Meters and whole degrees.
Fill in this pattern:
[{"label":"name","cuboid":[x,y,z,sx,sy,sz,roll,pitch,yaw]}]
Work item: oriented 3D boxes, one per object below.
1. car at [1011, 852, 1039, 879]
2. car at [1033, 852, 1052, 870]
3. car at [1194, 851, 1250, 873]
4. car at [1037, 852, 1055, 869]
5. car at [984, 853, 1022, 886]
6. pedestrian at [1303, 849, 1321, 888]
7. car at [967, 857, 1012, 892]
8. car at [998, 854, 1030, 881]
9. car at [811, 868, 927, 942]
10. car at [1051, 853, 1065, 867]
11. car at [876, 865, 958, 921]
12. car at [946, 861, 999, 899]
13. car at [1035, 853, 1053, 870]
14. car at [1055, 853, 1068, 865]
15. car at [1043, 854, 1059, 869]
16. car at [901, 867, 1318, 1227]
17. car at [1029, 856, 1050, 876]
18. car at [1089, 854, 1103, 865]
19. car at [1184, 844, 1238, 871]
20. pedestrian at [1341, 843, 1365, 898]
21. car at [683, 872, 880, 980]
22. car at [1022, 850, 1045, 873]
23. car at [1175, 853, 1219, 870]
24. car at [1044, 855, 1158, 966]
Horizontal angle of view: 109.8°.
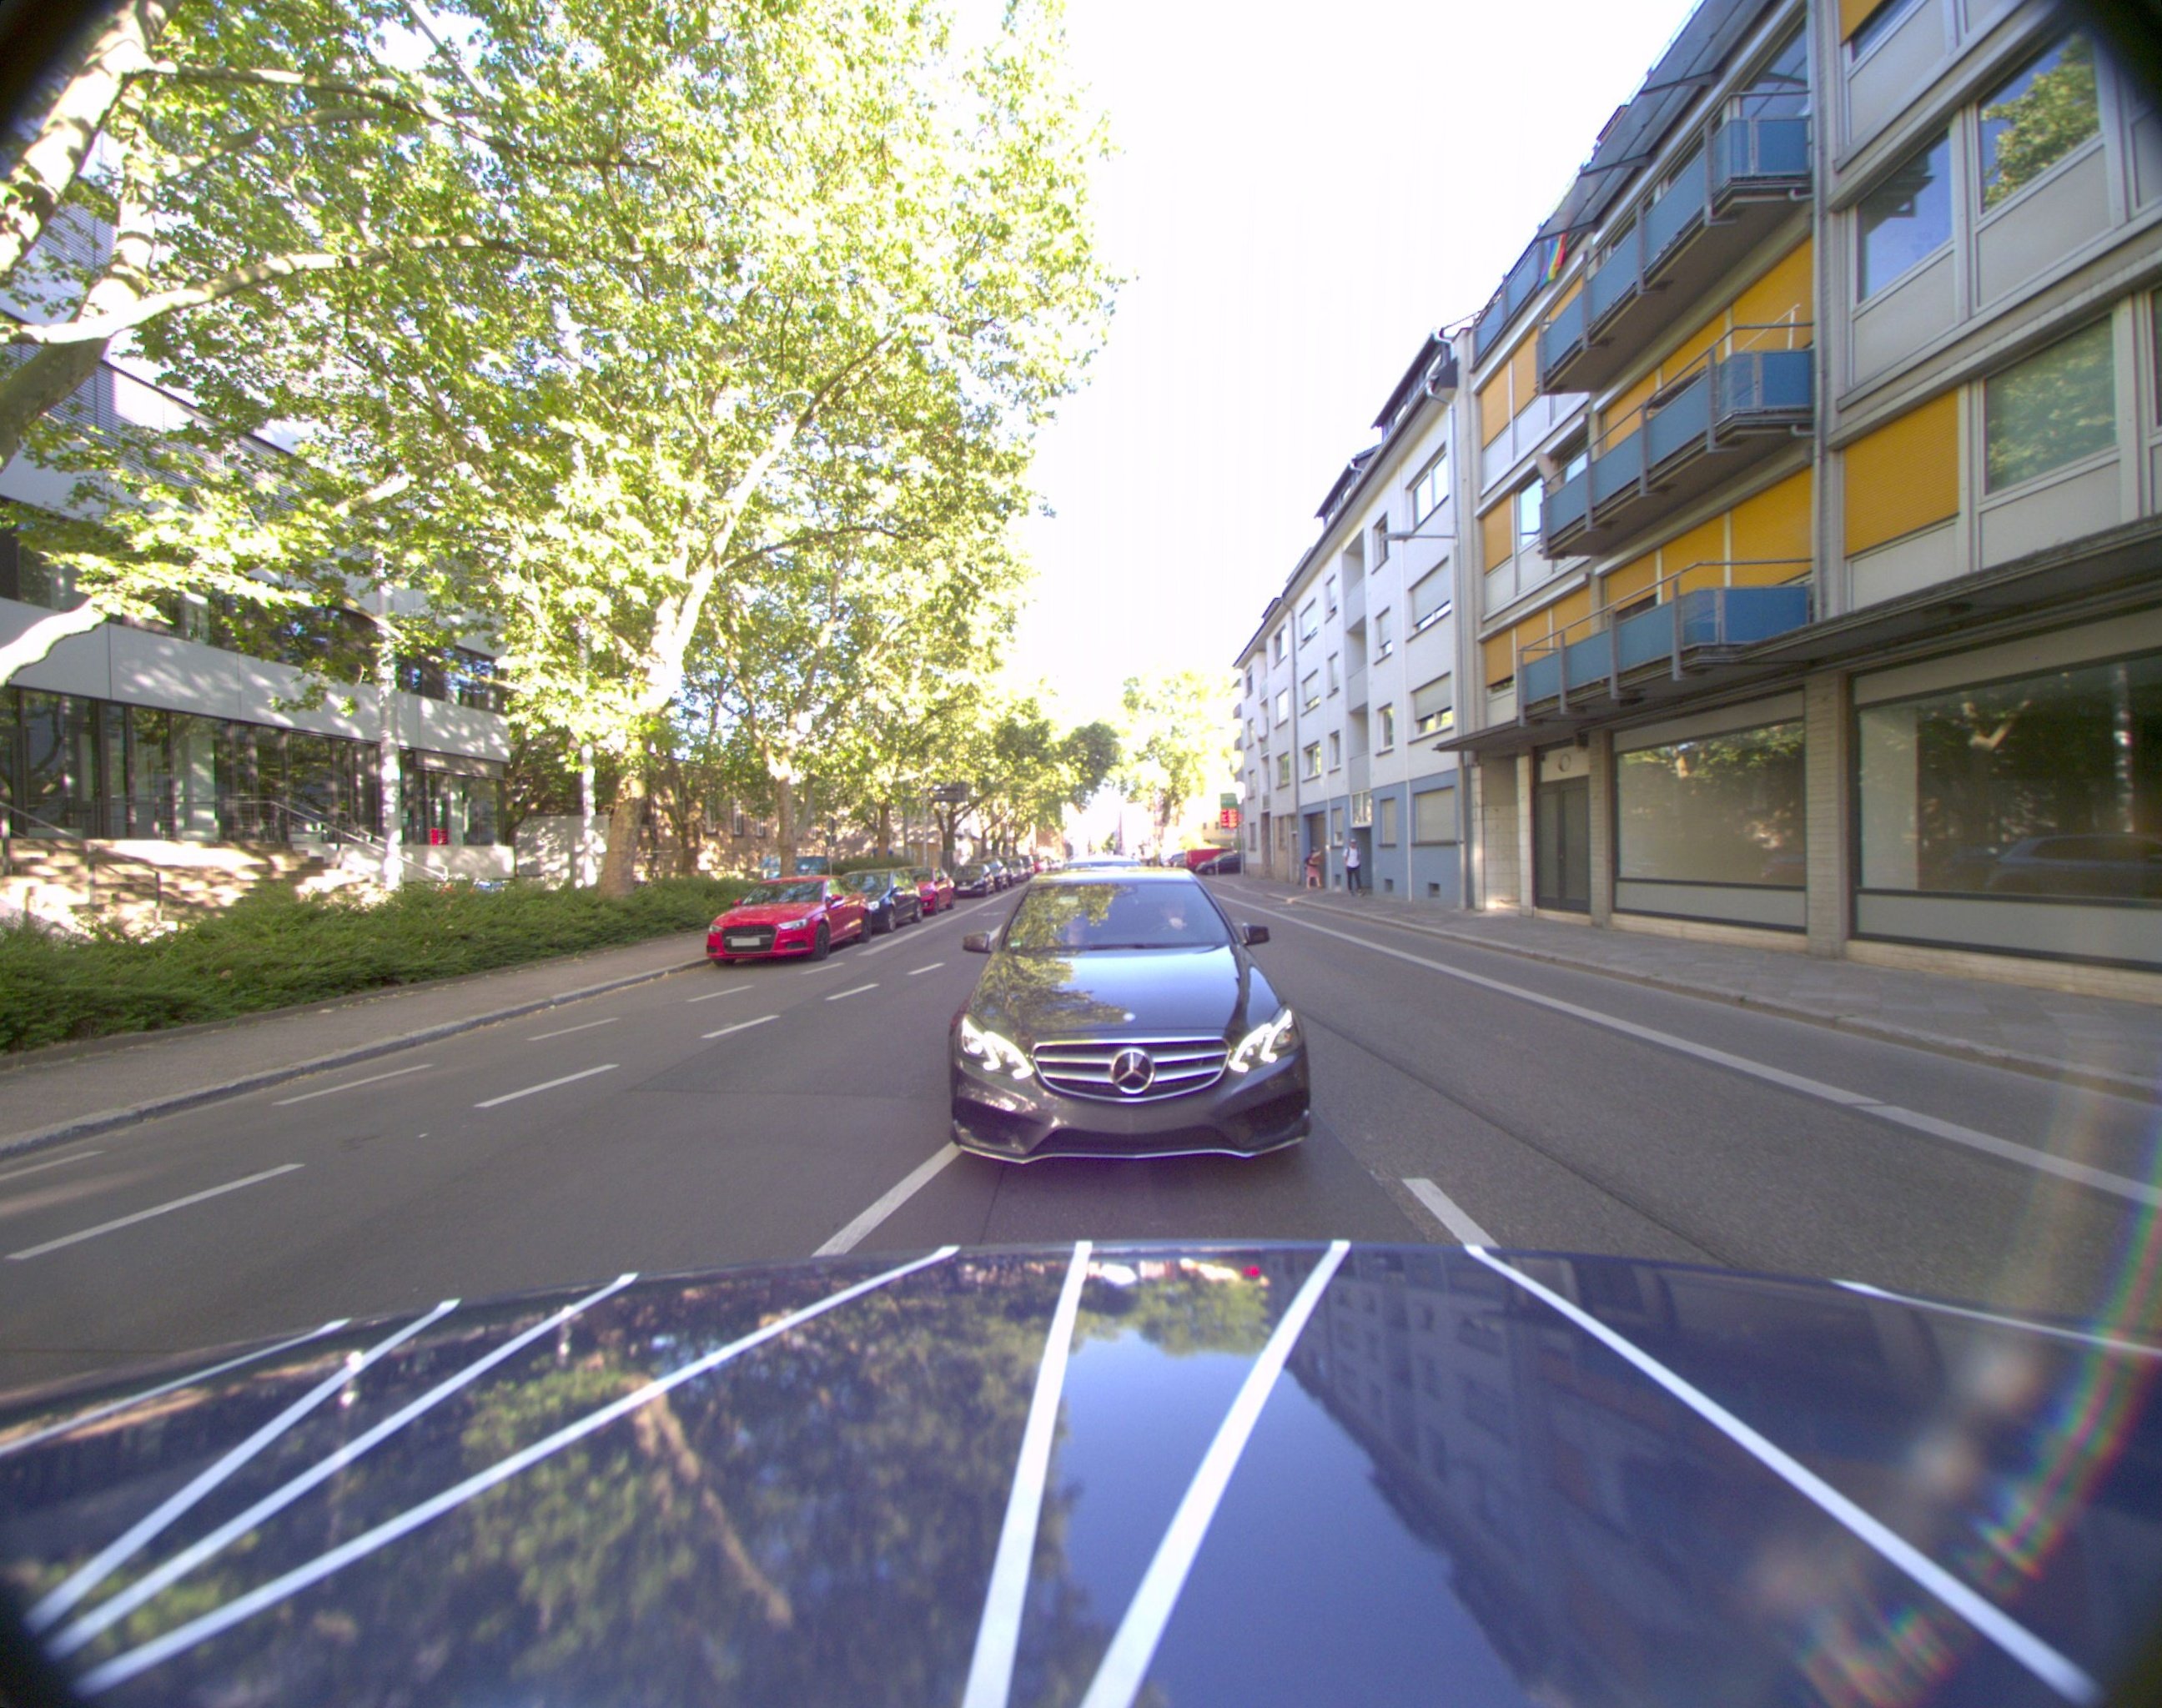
[{"label":"car","cuboid":[-4.075,0.828,55.528,1.635,1.799,3.673,-3,0,1]},{"label":"car","cuboid":[-3.935,0.725,78.173,1.635,1.713,3.673,-3,0,1]},{"label":"car","cuboid":[10.098,0.552,54.725,3.670,1.403,1.636,-3,0,1]},{"label":"car","cuboid":[-3.945,0.715,86.063,1.635,1.713,3.673,-3,0,1]},{"label":"car","cuboid":[-4.490,0.854,44.157,1.635,1.795,3.845,-3,0,1]},{"label":"pedestrian","cuboid":[9.092,0.557,29.862,0.571,1.509,0.342,-4,1,-41]},{"label":"car","cuboid":[-4.524,0.970,38.056,1.635,1.578,3.845,-3,0,1]},{"label":"car","cuboid":[-4.415,0.896,50.720,1.635,1.644,3.845,-3,0,1]},{"label":"car","cuboid":[-5.001,1.147,18.398,1.635,1.455,3.740,-3,0,1]},{"label":"car","cuboid":[-3.036,0.788,102.747,1.635,1.713,3.673,-3,0,1]},{"label":"car","cuboid":[-4.990,1.145,23.597,1.635,1.455,3.740,-3,0,1]},{"label":"car","cuboid":[-4.679,1.093,33.184,1.635,1.455,3.740,-3,0,1]},{"label":"car","cuboid":[-3.931,0.757,82.067,1.635,1.713,3.673,-3,0,1]},{"label":"car","cuboid":[-2.745,0.712,109.732,1.635,1.713,3.673,-3,0,1]},{"label":"car","cuboid":[-3.632,0.924,92.358,1.635,1.713,3.673,-3,0,1]},{"label":"car","cuboid":[0.158,0.908,5.479,1.804,1.455,4.125,-3,0,1]},{"label":"car","cuboid":[-3.932,1.104,71.714,1.635,1.713,3.673,-3,0,1]},{"label":"car","cuboid":[2.086,0.748,108.384,1.853,1.455,4.099,-3,0,1]},{"label":"car","cuboid":[10.209,0.255,60.009,3.927,1.912,1.636,-3,0,1]},{"label":"pedestrian","cuboid":[8.687,0.522,24.272,0.569,1.716,0.343,-3,1,1]},{"label":"car","cuboid":[-5.140,1.163,13.721,1.804,1.455,4.125,-3,0,1]},{"label":"car","cuboid":[-4.133,0.639,66.087,1.635,1.878,3.673,-3,0,1]},{"label":"car","cuboid":[9.544,0.633,62.623,3.325,1.241,1.295,-3,0,1]},{"label":"car","cuboid":[0.331,0.878,13.789,1.680,1.622,4.125,-3,0,1]}]
